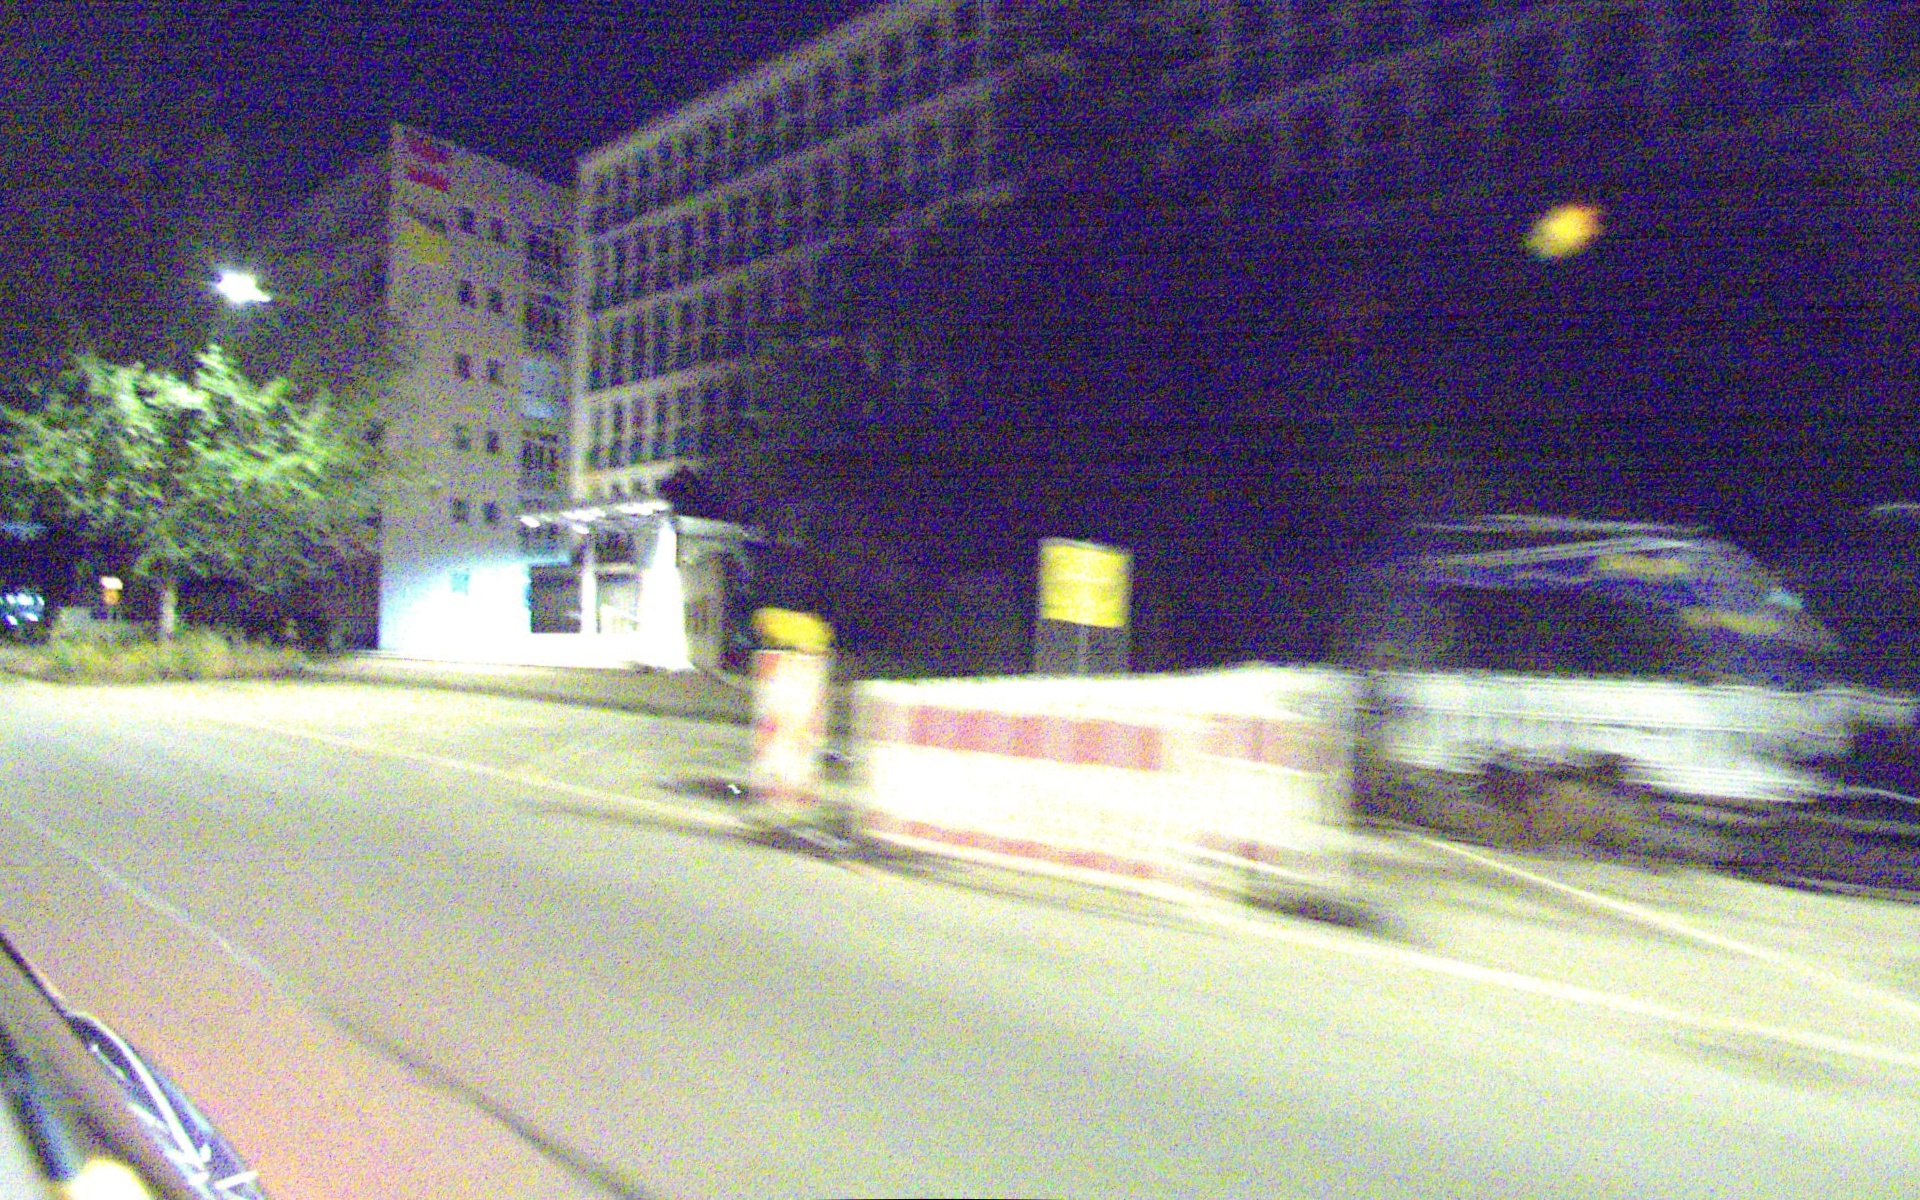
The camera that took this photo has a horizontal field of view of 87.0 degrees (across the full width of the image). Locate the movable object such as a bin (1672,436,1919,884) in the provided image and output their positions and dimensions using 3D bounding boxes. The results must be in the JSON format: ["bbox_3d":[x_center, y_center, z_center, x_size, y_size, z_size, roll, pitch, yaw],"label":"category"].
[{"bbox_3d":[6.251,0.382,6.124,2.816,2.486,1.544,1,-3,18],"label":"movable object such as a bin"}]

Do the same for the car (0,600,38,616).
[{"bbox_3d":[-90.532,0.770,96.206,1.802,1.474,3.953,-1,1,35],"label":"car"}]

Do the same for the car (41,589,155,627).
[{"bbox_3d":[-47.058,0.469,55.301,1.997,1.987,4.390,-1,-2,37],"label":"car"}]
